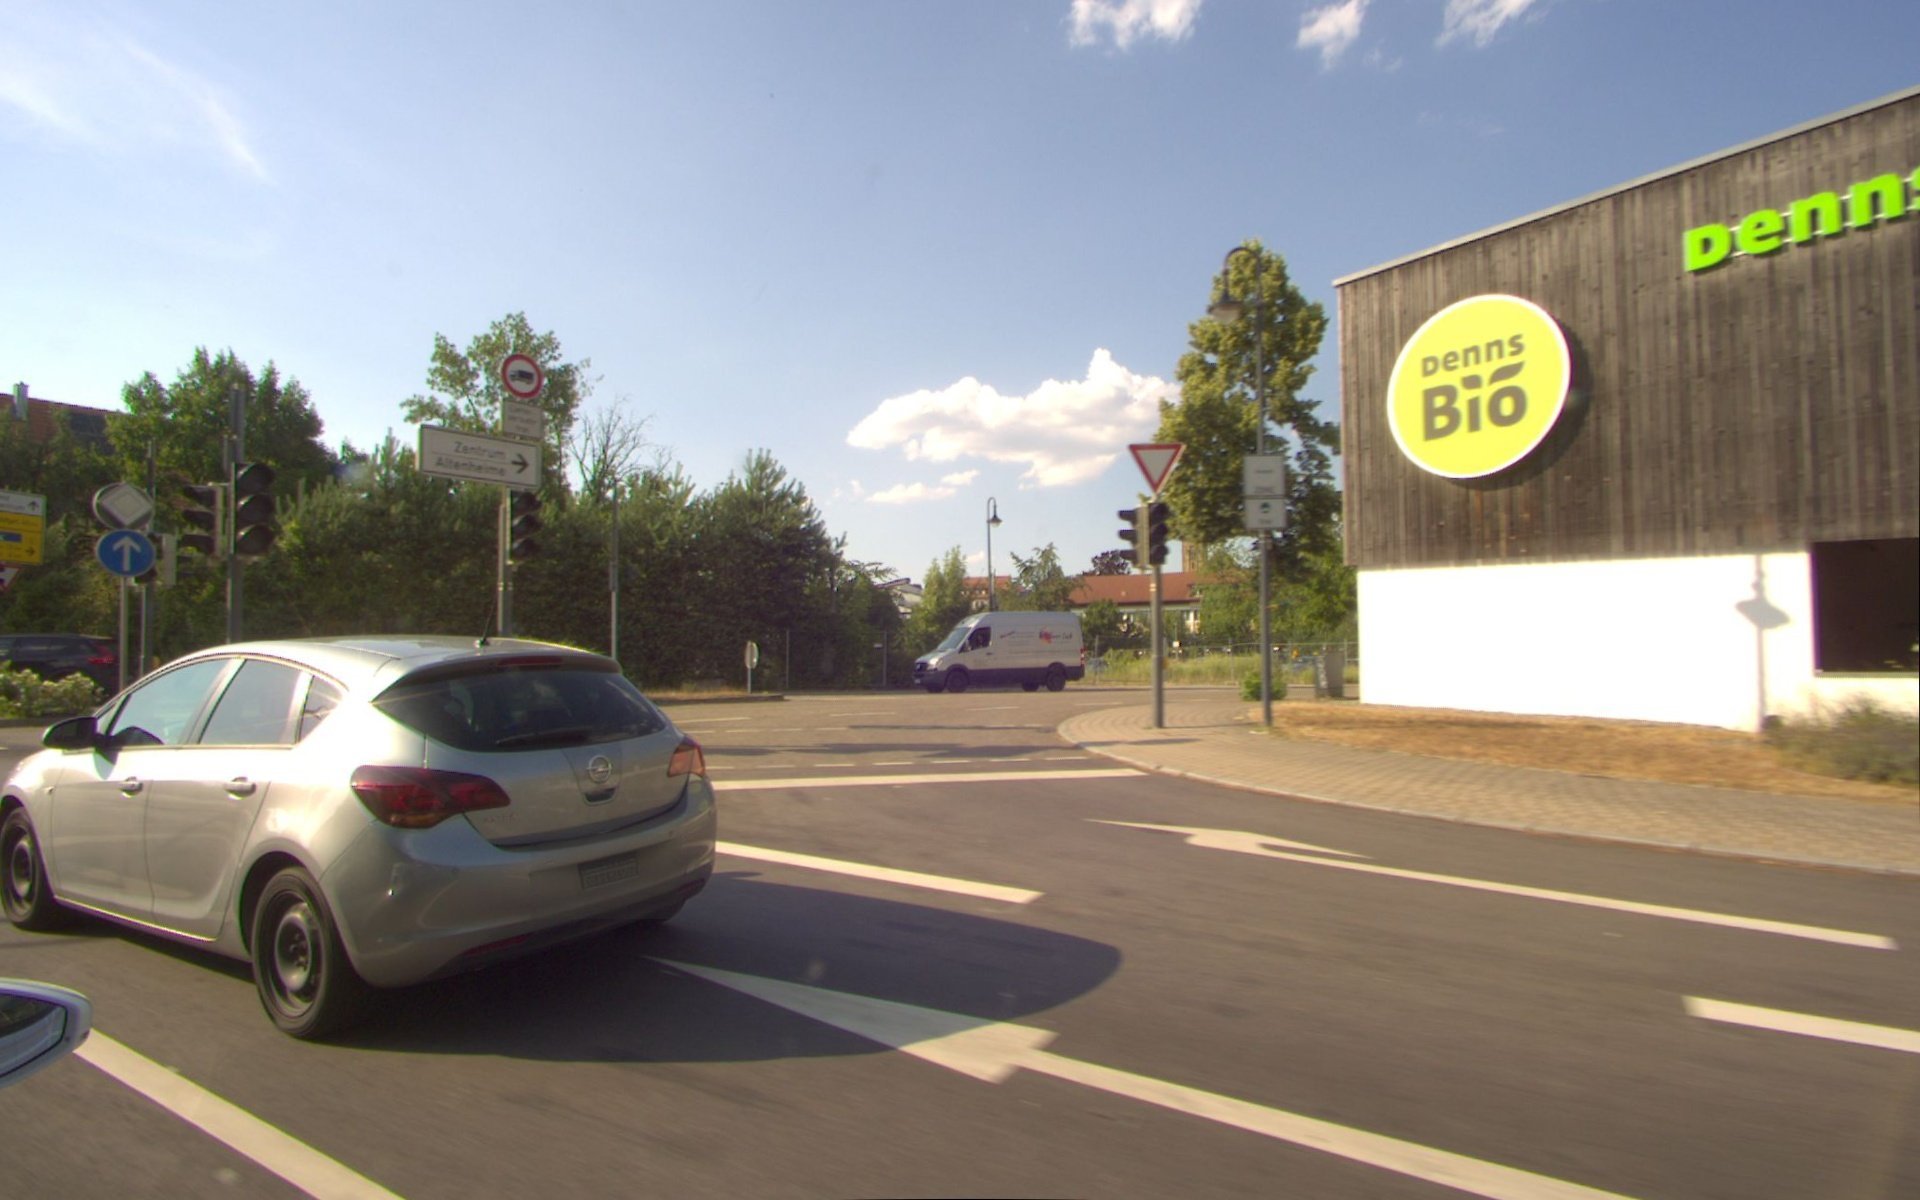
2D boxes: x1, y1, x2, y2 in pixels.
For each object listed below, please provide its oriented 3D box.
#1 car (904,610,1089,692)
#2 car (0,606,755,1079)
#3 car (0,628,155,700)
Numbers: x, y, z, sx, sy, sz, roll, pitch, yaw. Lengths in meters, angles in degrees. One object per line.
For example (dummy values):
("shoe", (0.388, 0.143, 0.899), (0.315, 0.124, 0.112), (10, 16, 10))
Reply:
("car", (1.228, 1.663, 33.115), (5.766, 2.553, 2.188), (1, -2, -24))
("car", (-3.208, 0.824, 5.071), (4.244, 1.509, 1.718), (-1, -2, 32))
("car", (-21.403, 1.442, 22.955), (4.201, 1.587, 1.788), (1, -2, -23))
